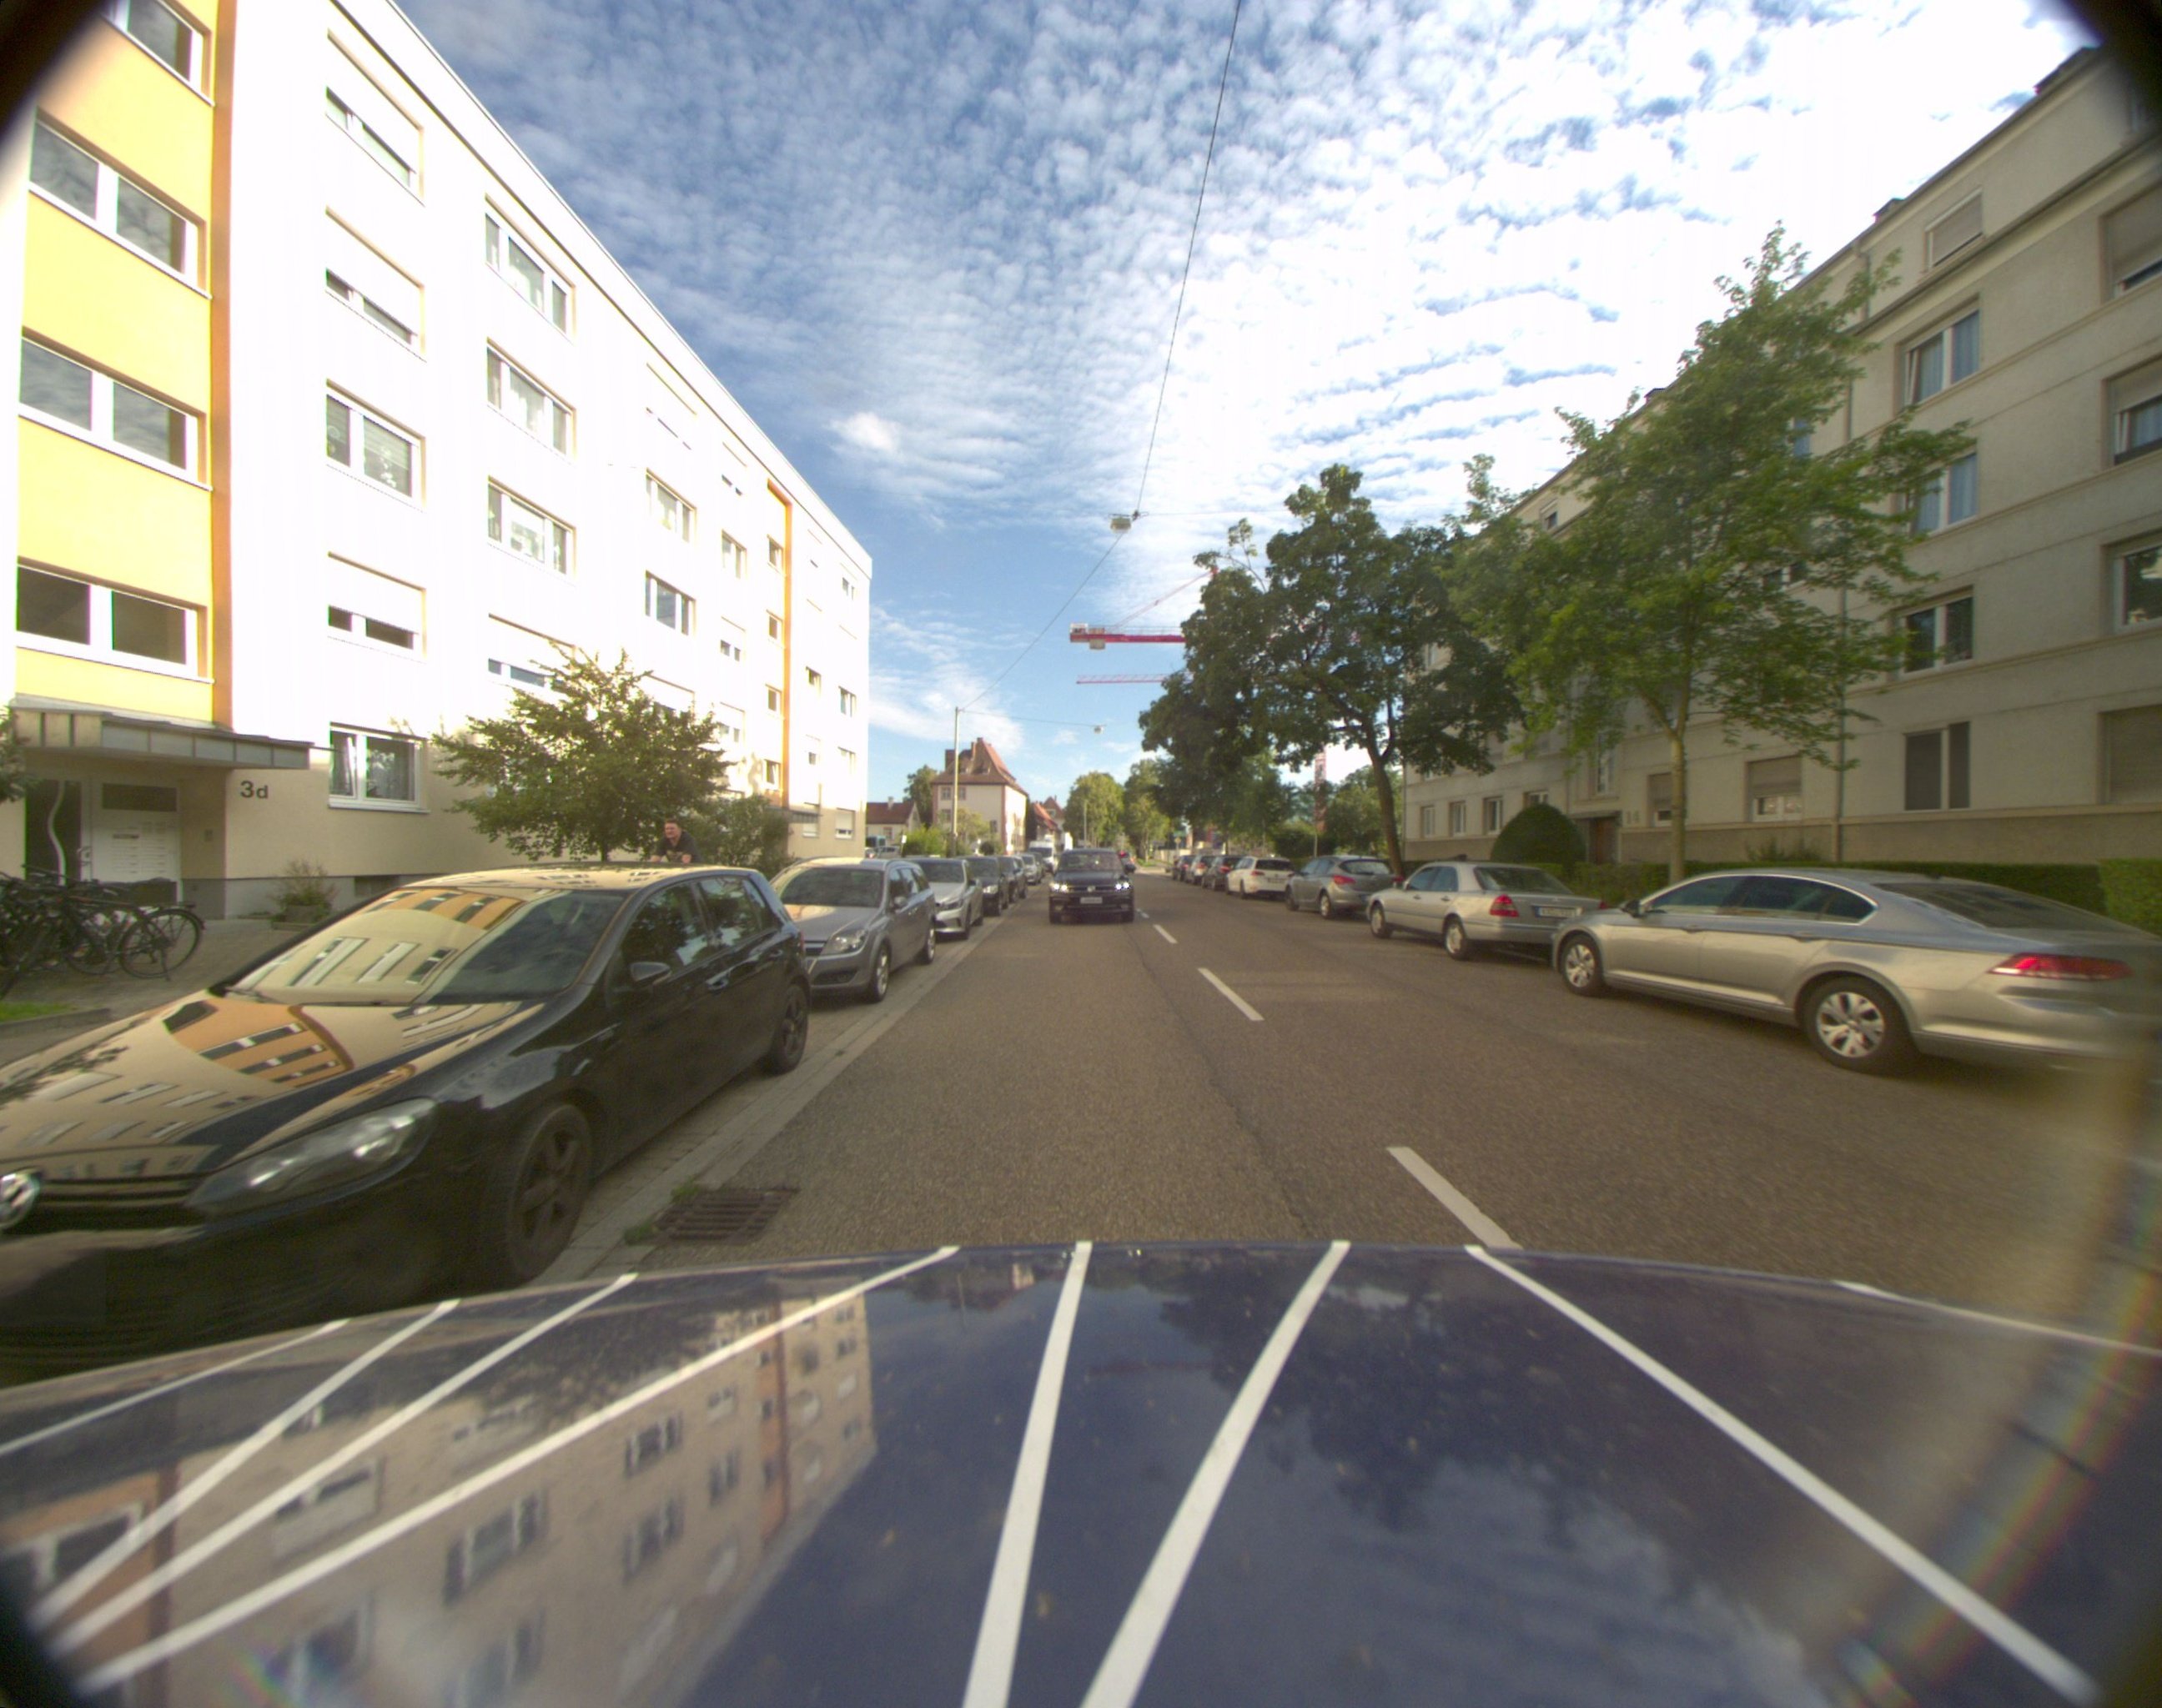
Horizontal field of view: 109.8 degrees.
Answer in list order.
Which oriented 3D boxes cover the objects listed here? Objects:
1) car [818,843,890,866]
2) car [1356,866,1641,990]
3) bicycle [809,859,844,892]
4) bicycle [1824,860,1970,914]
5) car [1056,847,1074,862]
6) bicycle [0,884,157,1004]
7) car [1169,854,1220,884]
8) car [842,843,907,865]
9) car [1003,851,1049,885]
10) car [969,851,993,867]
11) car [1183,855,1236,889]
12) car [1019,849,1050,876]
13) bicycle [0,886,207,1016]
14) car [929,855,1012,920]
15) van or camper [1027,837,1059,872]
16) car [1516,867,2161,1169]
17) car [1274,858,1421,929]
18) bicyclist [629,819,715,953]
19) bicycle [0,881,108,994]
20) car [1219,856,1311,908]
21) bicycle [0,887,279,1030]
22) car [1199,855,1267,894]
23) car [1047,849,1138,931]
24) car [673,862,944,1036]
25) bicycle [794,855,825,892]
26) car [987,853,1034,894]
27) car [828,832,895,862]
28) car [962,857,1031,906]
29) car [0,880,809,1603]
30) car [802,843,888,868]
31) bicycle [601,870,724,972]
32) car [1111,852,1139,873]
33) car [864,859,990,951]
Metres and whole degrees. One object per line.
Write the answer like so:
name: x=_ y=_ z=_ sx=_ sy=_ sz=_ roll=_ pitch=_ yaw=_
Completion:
car: x=-14.875 y=0.043 z=49.880 sx=4.084 sy=1.473 sz=1.872 roll=0 pitch=1 yaw=9
car: x=6.050 y=0.962 z=11.798 sx=1.743 sy=1.385 sz=4.665 roll=2 pitch=0 yaw=-1
bicycle: x=-8.481 y=0.708 z=25.351 sx=0.597 sy=0.992 sz=1.691 roll=-1 pitch=2 yaw=0
bicycle: x=17.987 y=0.689 z=16.855 sx=0.635 sy=1.054 sz=2.404 roll=-1 pitch=1 yaw=-1
car: x=-1.707 y=0.018 z=81.570 sx=1.662 sy=1.477 sz=4.000 roll=-2 pitch=0 yaw=2
bicycle: x=-10.126 y=0.851 z=7.079 sx=0.503 sy=1.024 sz=2.069 roll=2 pitch=1 yaw=0
car: x=6.149 y=0.791 z=41.723 sx=1.932 sy=1.477 sz=4.419 roll=2 pitch=0 yaw=-2
car: x=-14.712 y=-0.008 z=54.290 sx=4.084 sy=1.473 sz=1.872 roll=0 pitch=1 yaw=9
car: x=-2.631 y=0.626 z=37.408 sx=1.767 sy=1.515 sz=4.329 roll=2 pitch=1 yaw=2
car: x=-10.619 y=0.511 z=81.162 sx=1.888 sy=1.709 sz=4.091 roll=0 pitch=0 yaw=3
car: x=6.153 y=0.828 z=36.815 sx=1.825 sy=1.477 sz=4.368 roll=2 pitch=0 yaw=0
car: x=-2.934 y=0.516 z=48.723 sx=1.678 sy=1.593 sz=3.969 roll=3 pitch=0 yaw=-1
bicycle: x=-9.603 y=0.877 z=7.077 sx=0.503 sy=1.024 sz=2.095 roll=2 pitch=1 yaw=0
car: x=-2.799 y=0.797 z=19.971 sx=1.688 sy=1.492 sz=3.873 roll=1 pitch=0 yaw=-1
van or camper: x=-2.934 y=0.006 z=59.629 sx=2.165 sy=2.512 sz=5.913 roll=2 pitch=0 yaw=-1
car: x=6.123 y=0.946 z=6.513 sx=1.860 sy=1.477 sz=4.943 roll=3 pitch=0 yaw=0
car: x=6.367 y=0.875 z=18.815 sx=1.860 sy=1.477 sz=4.682 roll=1 pitch=0 yaw=-2
bicyclist: x=-5.289 y=0.396 z=9.870 sx=0.625 sy=1.668 sz=0.893 roll=0 pitch=1 yaw=-1
bicycle: x=-10.639 y=0.823 z=7.096 sx=0.503 sy=1.024 sz=2.025 roll=2 pitch=1 yaw=0
car: x=6.150 y=0.865 z=25.970 sx=1.860 sy=1.477 sz=4.798 roll=3 pitch=0 yaw=0
bicycle: x=-9.008 y=0.890 z=7.184 sx=0.595 sy=1.024 sz=2.118 roll=2 pitch=1 yaw=0
car: x=6.161 y=0.787 z=31.356 sx=1.860 sy=1.477 sz=4.683 roll=0 pitch=0 yaw=0
car: x=0.245 y=0.744 z=17.743 sx=1.859 sy=1.673 sz=4.000 roll=-1 pitch=0 yaw=0
car: x=-2.882 y=0.894 z=9.099 sx=1.688 sy=1.477 sz=4.292 roll=1 pitch=1 yaw=0
bicycle: x=-9.040 y=0.643 z=25.344 sx=0.446 sy=1.130 sz=1.590 roll=1 pitch=2 yaw=0
car: x=-2.750 y=0.718 z=30.157 sx=1.688 sy=1.459 sz=4.204 roll=1 pitch=0 yaw=-3
car: x=-16.568 y=-0.548 z=57.526 sx=4.276 sy=2.179 sz=2.368 roll=0 pitch=1 yaw=7
car: x=-2.662 y=0.826 z=24.907 sx=1.687 sy=1.427 sz=4.206 roll=1 pitch=0 yaw=1
car: x=-2.829 y=0.950 z=3.677 sx=1.666 sy=1.482 sz=3.941 roll=1 pitch=0 yaw=-1
car: x=-14.576 y=0.086 z=47.030 sx=4.676 sy=1.473 sz=1.871 roll=0 pitch=1 yaw=5
bicycle: x=-5.287 y=0.799 z=9.752 sx=0.525 sy=1.128 sz=1.929 roll=0 pitch=1 yaw=-1
car: x=3.276 y=0.621 z=56.883 sx=1.744 sy=1.493 sz=4.009 roll=-1 pitch=1 yaw=-1
car: x=-2.788 y=0.856 z=14.602 sx=1.704 sy=1.455 sz=4.178 roll=1 pitch=0 yaw=-2
